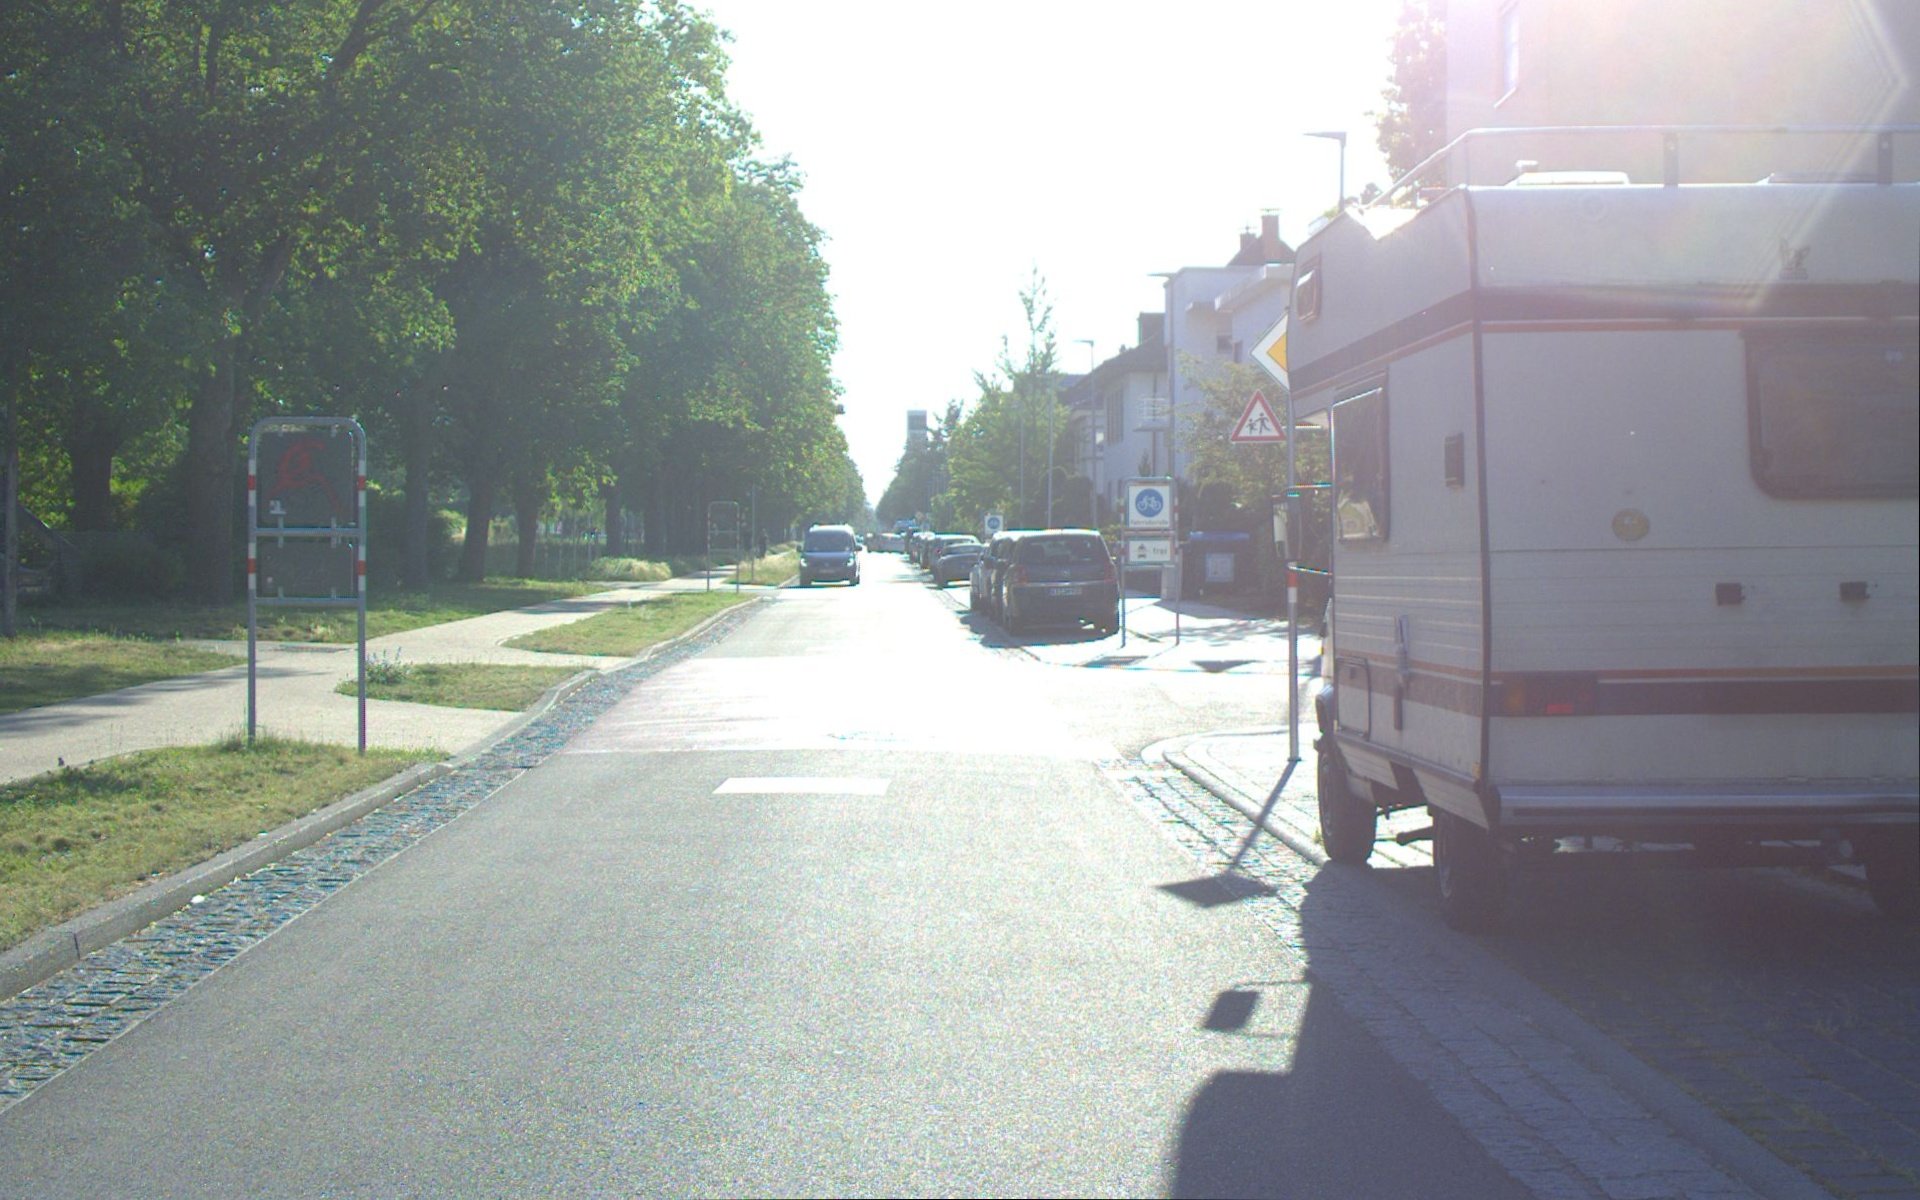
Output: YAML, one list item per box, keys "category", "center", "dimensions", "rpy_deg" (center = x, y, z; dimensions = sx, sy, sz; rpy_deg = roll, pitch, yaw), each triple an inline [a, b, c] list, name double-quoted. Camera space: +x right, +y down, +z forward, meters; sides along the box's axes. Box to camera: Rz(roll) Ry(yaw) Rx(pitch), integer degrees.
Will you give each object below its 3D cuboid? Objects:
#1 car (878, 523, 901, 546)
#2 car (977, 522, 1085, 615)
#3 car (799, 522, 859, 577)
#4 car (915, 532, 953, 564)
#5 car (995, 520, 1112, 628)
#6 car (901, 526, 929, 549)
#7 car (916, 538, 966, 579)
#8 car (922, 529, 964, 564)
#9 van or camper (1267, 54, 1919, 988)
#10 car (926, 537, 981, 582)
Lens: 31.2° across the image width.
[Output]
- category: "car"
  center: [-5.062, -4.678, 245.537]
  dimensions: [1.626, 1.663, 4.250]
  rpy_deg: [0, 1, -2]
- category: "car"
  center: [1.366, -0.610, 65.707]
  dimensions: [1.993, 1.711, 4.000]
  rpy_deg: [0, 1, 2]
- category: "car"
  center: [-4.052, -1.568, 106.966]
  dimensions: [1.825, 1.663, 4.250]
  rpy_deg: [0, 1, -2]
- category: "car"
  center: [-1.188, -2.358, 156.136]
  dimensions: [1.626, 1.405, 4.250]
  rpy_deg: [0, 1, -2]
- category: "car"
  center: [1.458, -0.430, 54.999]
  dimensions: [1.626, 1.663, 4.250]
  rpy_deg: [0, 1, -2]
- category: "car"
  center: [-2.737, -3.771, 208.502]
  dimensions: [1.626, 1.405, 4.250]
  rpy_deg: [0, 1, -2]
- category: "car"
  center: [-0.667, -1.440, 119.634]
  dimensions: [1.626, 1.405, 4.250]
  rpy_deg: [0, 1, -2]
- category: "car"
  center: [-0.700, -2.172, 140.099]
  dimensions: [1.626, 1.405, 4.250]
  rpy_deg: [0, 1, -2]
- category: "van or camper"
  center: [2.663, -0.245, 13.517]
  dimensions: [2.234, 2.894, 5.673]
  rpy_deg: [0, 0, -2]
- category: "car"
  center: [-0.230, -1.286, 108.573]
  dimensions: [1.626, 1.405, 4.250]
  rpy_deg: [0, 1, -2]
